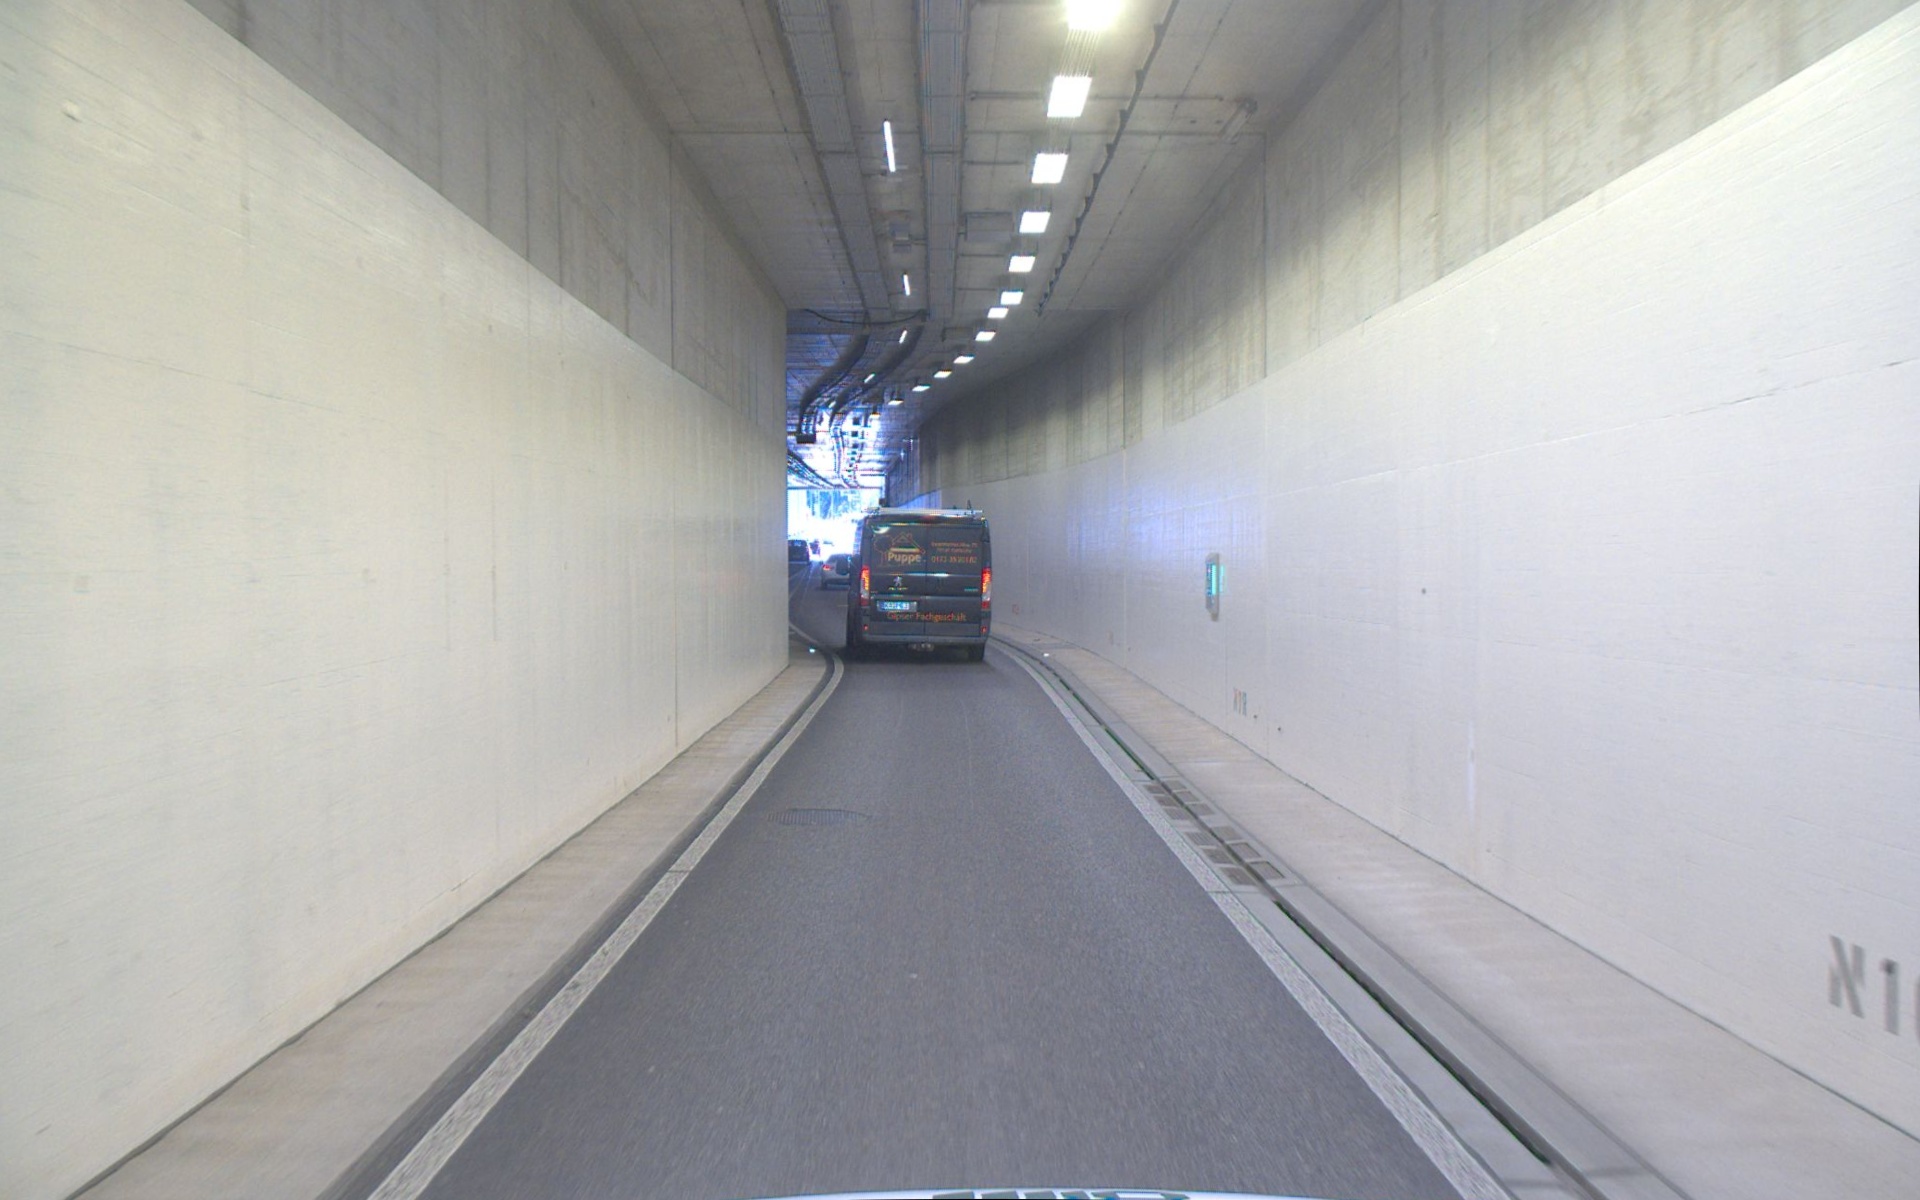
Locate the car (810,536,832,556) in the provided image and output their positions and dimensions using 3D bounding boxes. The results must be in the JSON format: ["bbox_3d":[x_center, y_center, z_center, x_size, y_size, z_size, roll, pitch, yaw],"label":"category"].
[{"bbox_3d":[-12.316,-4.805,146.319,1.840,1.653,4.216,1,1,-5],"label":"car"}]

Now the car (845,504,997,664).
[{"bbox_3d":[-0.729,-0.319,26.450,2.116,2.305,4.633,1,2,-5],"label":"car"}]

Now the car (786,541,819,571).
[{"bbox_3d":[-9.330,-2.591,97.999,1.840,1.653,4.216,1,1,-5],"label":"car"}]

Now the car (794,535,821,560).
[{"bbox_3d":[-10.929,-3.732,118.299,1.840,1.653,4.216,1,1,-5],"label":"car"}]

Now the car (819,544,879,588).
[{"bbox_3d":[-3.944,-1.252,59.583,2.043,1.540,4.635,0,2,-3],"label":"car"}]
